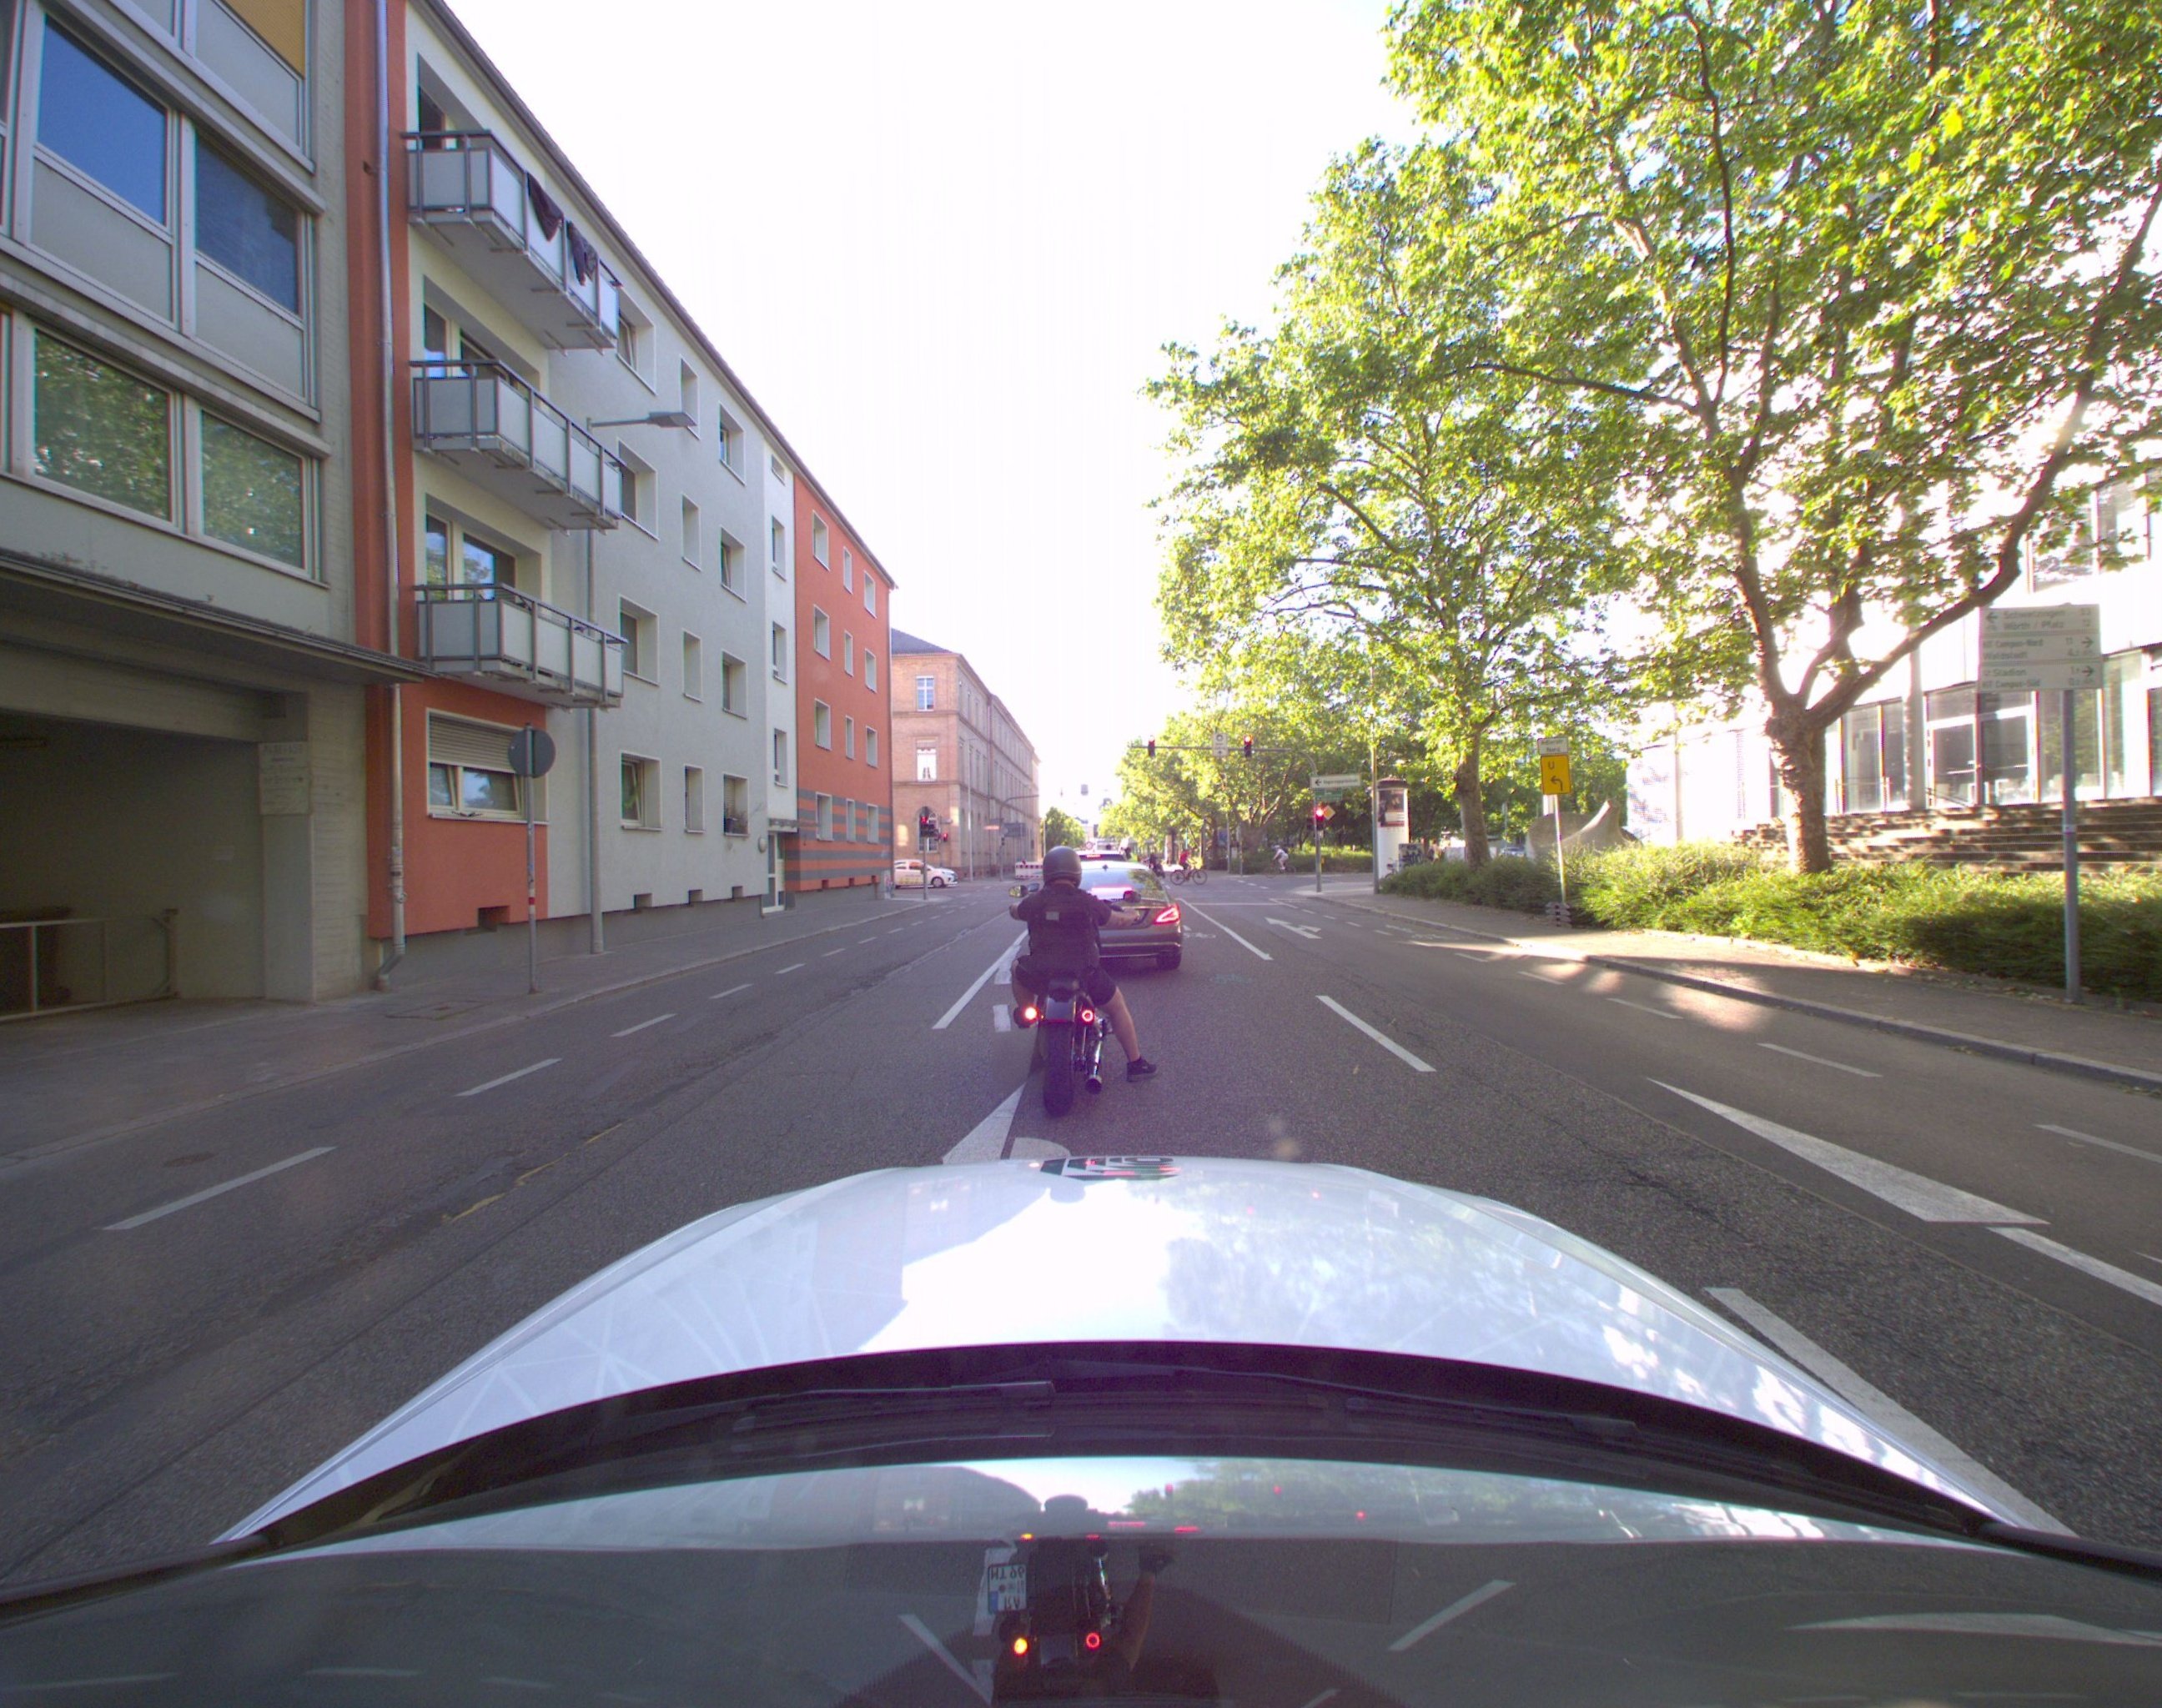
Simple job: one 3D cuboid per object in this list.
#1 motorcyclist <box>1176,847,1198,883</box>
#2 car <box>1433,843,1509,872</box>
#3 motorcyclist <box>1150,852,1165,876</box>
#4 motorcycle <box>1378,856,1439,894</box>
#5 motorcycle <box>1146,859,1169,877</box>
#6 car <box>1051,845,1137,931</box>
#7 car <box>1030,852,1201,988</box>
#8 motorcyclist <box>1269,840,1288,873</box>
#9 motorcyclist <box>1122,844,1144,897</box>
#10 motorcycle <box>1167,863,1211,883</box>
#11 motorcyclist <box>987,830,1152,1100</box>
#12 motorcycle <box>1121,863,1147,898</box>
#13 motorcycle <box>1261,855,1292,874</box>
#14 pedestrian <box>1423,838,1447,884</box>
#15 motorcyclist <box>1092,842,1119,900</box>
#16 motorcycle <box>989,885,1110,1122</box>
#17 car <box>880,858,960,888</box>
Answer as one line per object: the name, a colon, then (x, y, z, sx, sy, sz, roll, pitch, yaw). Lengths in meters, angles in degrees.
motorcyclist: (5.049, 0.514, 38.732, 0.981, 1.722, 0.551, 0, -1, 2)
car: (24.630, 0.207, 51.531, 3.974, 1.772, 1.738, -1, 0, -1)
motorcyclist: (4.865, 0.645, 51.873, 0.637, 1.537, 0.948, -1, -1, 29)
motorcycle: (11.072, 0.713, 27.552, 1.771, 1.243, 0.724, 0, -1, 7)
motorcycle: (4.879, 0.863, 51.708, 0.620, 1.097, 2.100, -1, -1, 29)
car: (0.320, 0.666, 17.750, 1.645, 1.652, 4.002, 0, -1, 2)
car: (0.261, 0.745, 11.252, 1.821, 1.486, 4.325, 0, -1, -5)
motorcyclist: (11.252, 0.158, 46.405, 0.978, 1.876, 0.377, -1, -1, 6)
motorcyclist: (1.745, 0.557, 27.448, 0.714, 1.743, 0.751, 0, -1, 1)
motorcycle: (5.119, 0.898, 38.717, 2.004, 0.962, 0.581, 0, -1, 2)
motorcyclist: (-0.053, 0.671, 5.457, 0.986, 1.611, 1.121, 0, -1, 1)
motorcycle: (1.763, 0.863, 27.434, 0.794, 1.131, 2.237, 0, -1, 2)
motorcycle: (11.142, 0.597, 46.445, 1.710, 1.002, 0.416, -1, 0, 6)
pedestrian: (14.508, 0.291, 33.389, 0.645, 1.827, 0.667, -1, 0, 1)
motorcyclist: (0.787, 0.521, 25.715, 0.828, 1.788, 0.913, 0, -1, 1)
motorcycle: (-0.142, 0.863, 5.527, 0.657, 1.240, 2.058, 0, -1, 2)
car: (-8.108, 0.952, 41.298, 3.734, 1.418, 1.439, -1, -1, -1)
